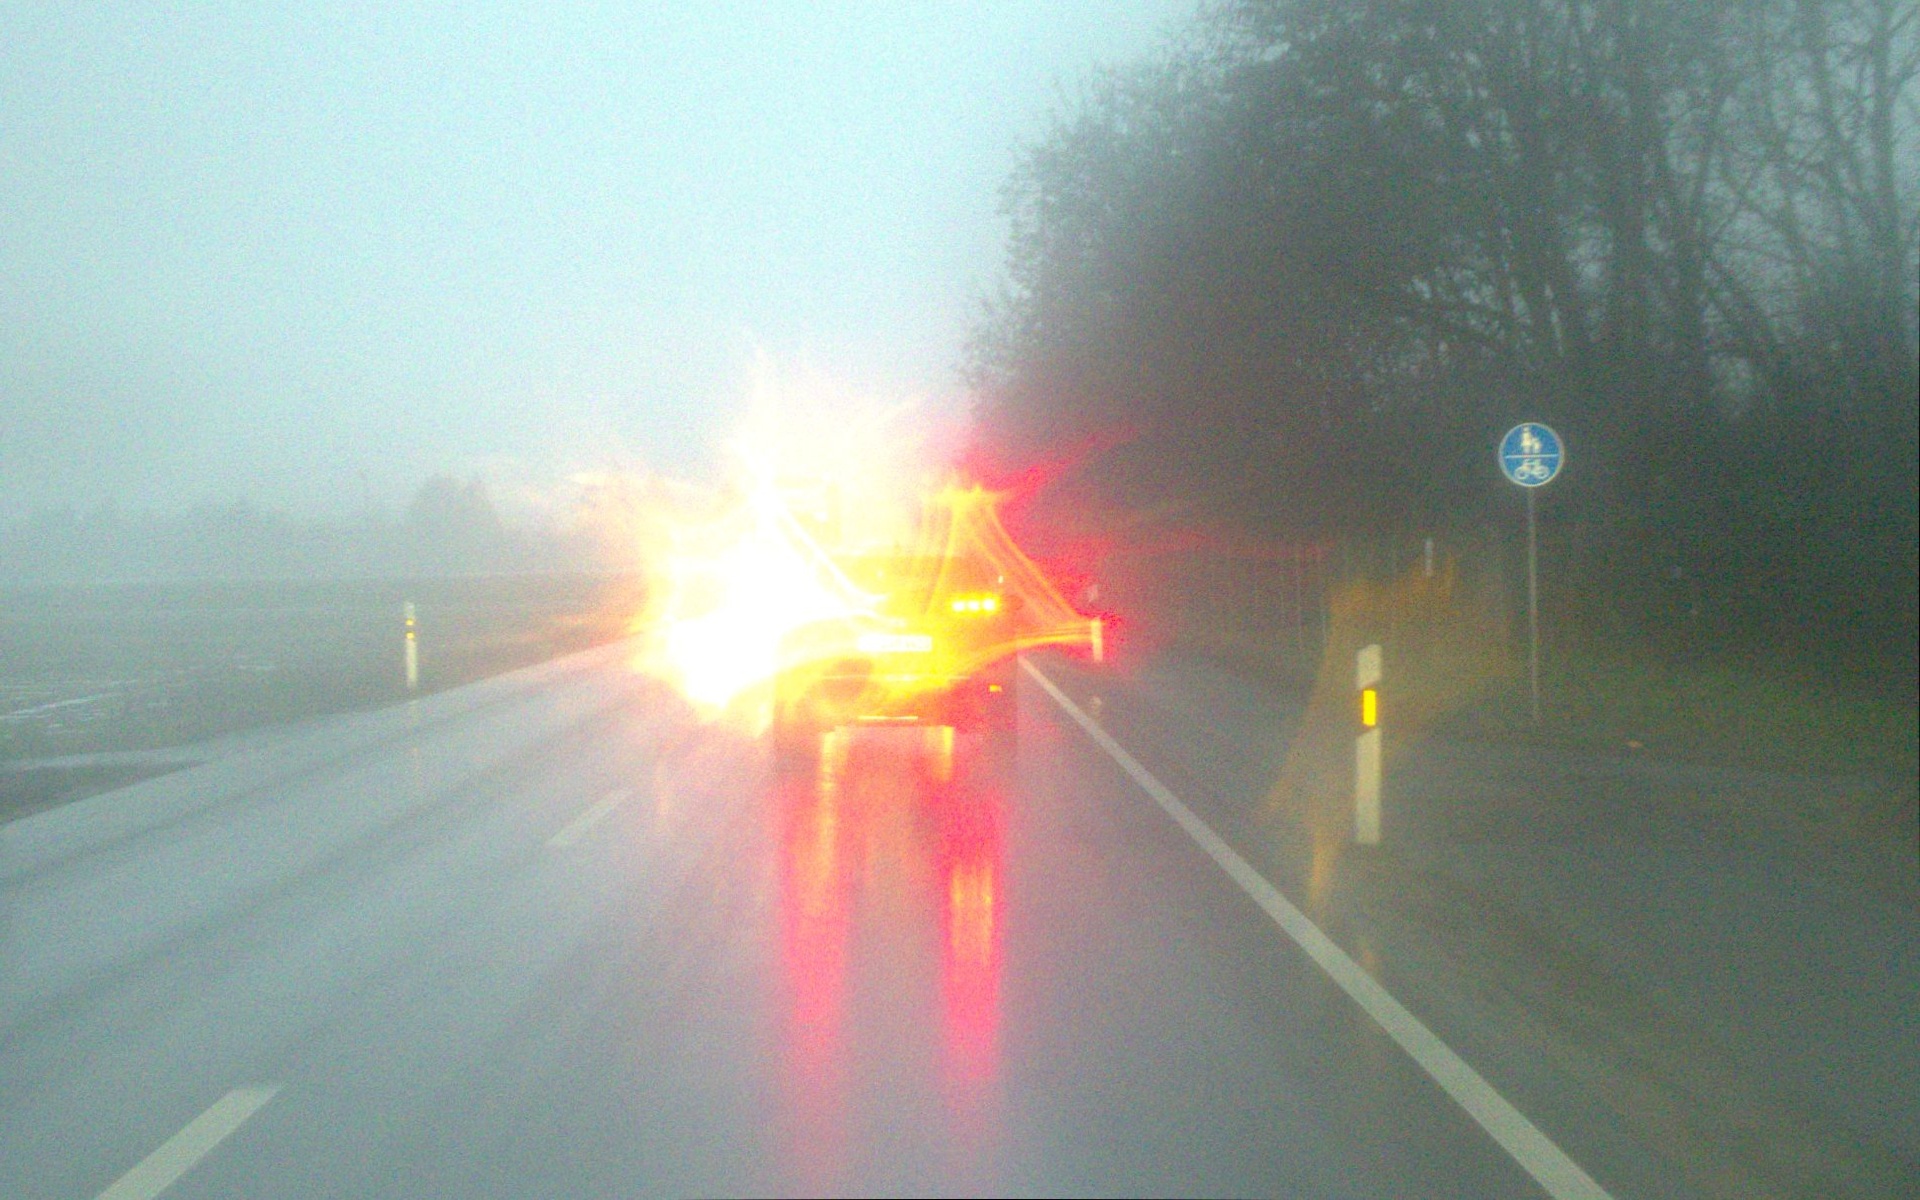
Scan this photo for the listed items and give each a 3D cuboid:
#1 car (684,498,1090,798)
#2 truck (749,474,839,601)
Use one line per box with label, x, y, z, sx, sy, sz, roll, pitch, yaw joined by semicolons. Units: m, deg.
car;-0.522;0.309;26.935;2.820;2.070;5.804;1;1;0
truck;-5.513;-2.092;115.196;2.725;4.091;6.589;-1;1;-1
